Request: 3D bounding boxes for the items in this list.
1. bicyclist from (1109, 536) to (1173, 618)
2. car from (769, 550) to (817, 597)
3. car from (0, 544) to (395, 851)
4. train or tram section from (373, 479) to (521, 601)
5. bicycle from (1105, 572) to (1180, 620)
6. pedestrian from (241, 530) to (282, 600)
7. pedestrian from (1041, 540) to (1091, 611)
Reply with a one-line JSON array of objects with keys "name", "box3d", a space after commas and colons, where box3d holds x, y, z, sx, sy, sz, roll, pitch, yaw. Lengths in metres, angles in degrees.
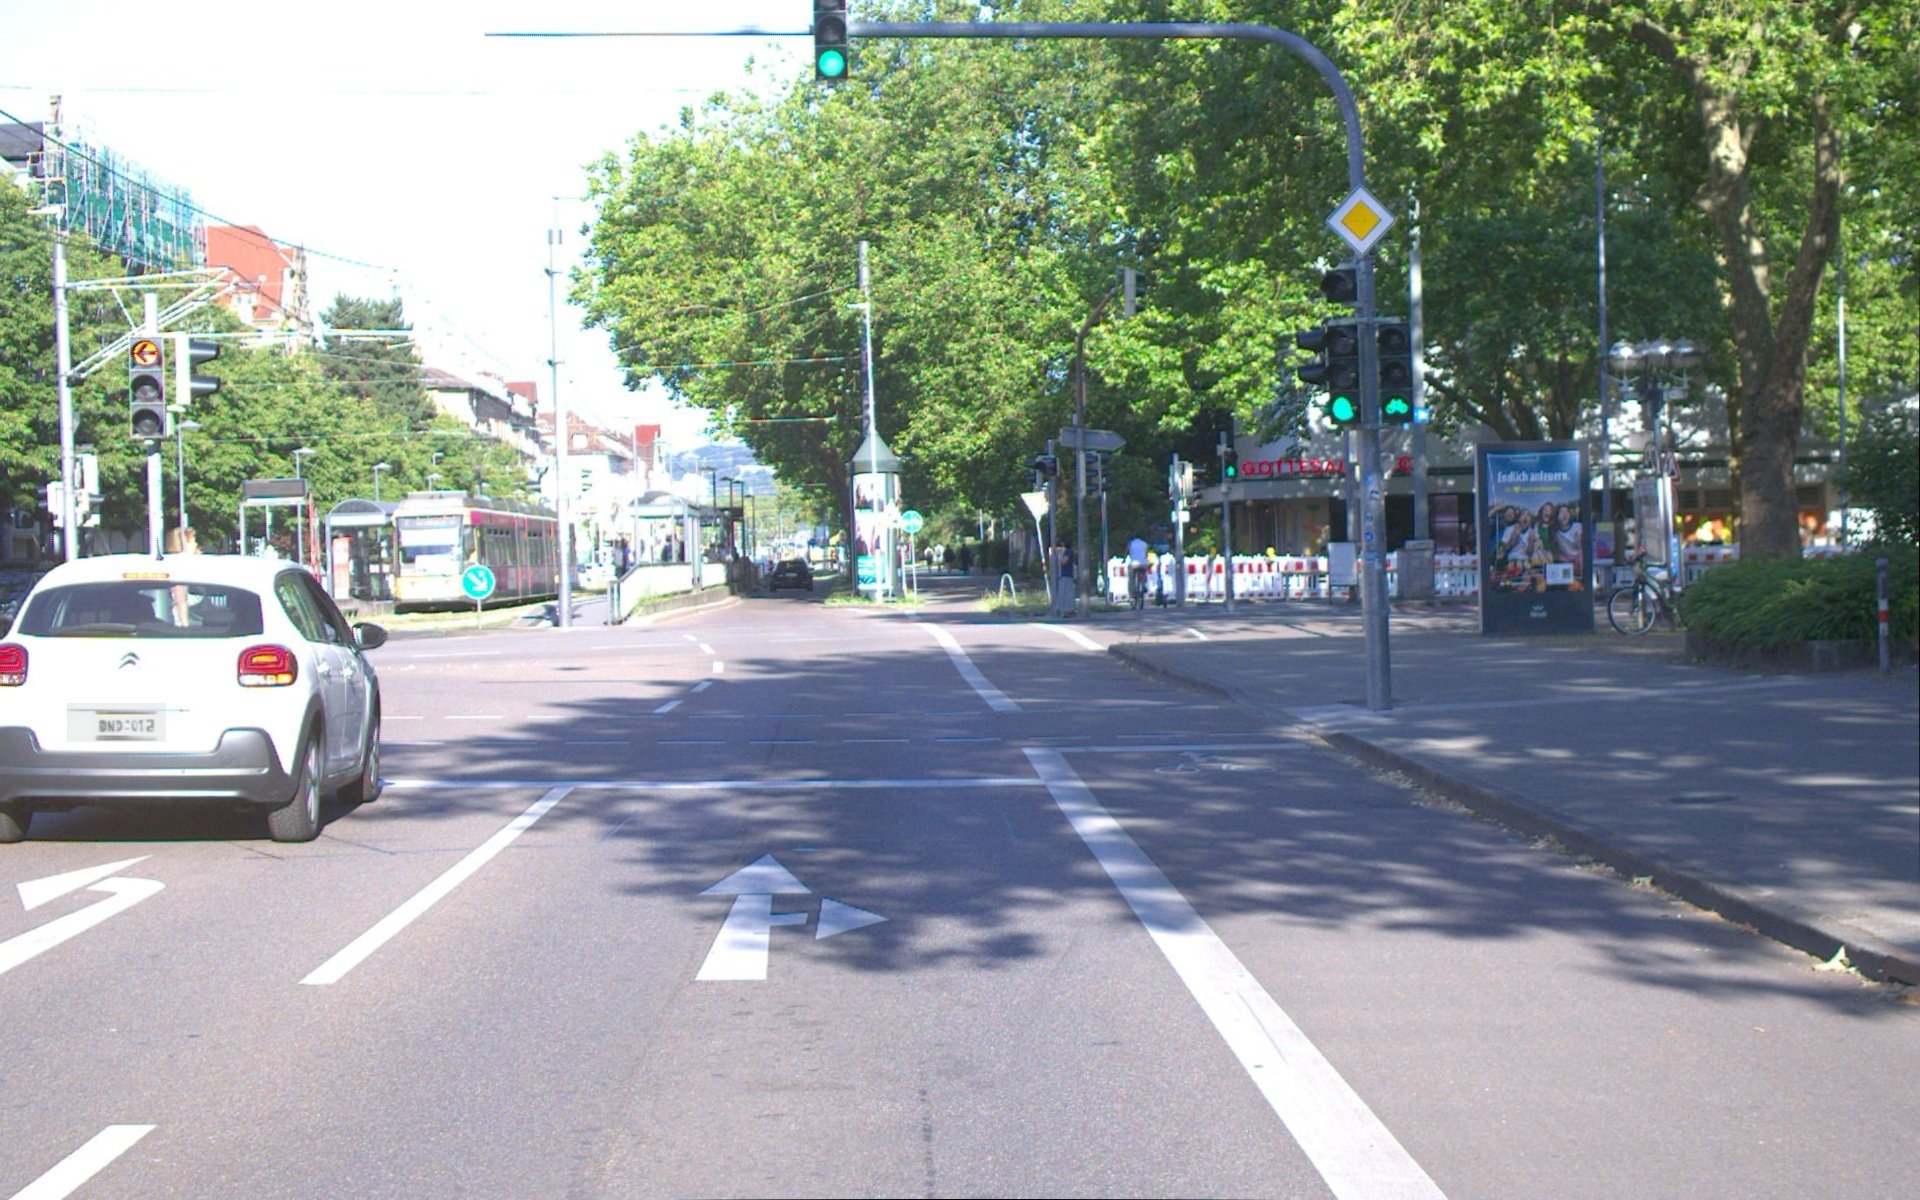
[{"name": "bicyclist", "box3d": [3.788, -0.493, 71.971, 1.198, 1.691, 0.904, 1, 1, -5]}, {"name": "car", "box3d": [-7.426, -1.196, 153.280, 1.993, 2.007, 4.000, 1, 1, -1]}, {"name": "car", "box3d": [-4.172, 0.449, 18.642, 1.745, 1.457, 3.645, 1, 1, -2]}, {"name": "train or tram section", "box3d": [-15.143, -1.787, 102.249, 2.952, 3.398, 10.792, 1, 1, -1]}, {"name": "bicycle", "box3d": [3.803, -0.092, 71.927, 1.198, 0.931, 2.574, 1, 1, -5]}, {"name": "pedestrian", "box3d": [-18.310, -0.922, 90.133, 0.962, 1.827, 0.990, 1, 1, -8]}, {"name": "pedestrian", "box3d": [2.096, -0.485, 67.899, 0.660, 1.383, 0.830, 1, 1, 31]}]
